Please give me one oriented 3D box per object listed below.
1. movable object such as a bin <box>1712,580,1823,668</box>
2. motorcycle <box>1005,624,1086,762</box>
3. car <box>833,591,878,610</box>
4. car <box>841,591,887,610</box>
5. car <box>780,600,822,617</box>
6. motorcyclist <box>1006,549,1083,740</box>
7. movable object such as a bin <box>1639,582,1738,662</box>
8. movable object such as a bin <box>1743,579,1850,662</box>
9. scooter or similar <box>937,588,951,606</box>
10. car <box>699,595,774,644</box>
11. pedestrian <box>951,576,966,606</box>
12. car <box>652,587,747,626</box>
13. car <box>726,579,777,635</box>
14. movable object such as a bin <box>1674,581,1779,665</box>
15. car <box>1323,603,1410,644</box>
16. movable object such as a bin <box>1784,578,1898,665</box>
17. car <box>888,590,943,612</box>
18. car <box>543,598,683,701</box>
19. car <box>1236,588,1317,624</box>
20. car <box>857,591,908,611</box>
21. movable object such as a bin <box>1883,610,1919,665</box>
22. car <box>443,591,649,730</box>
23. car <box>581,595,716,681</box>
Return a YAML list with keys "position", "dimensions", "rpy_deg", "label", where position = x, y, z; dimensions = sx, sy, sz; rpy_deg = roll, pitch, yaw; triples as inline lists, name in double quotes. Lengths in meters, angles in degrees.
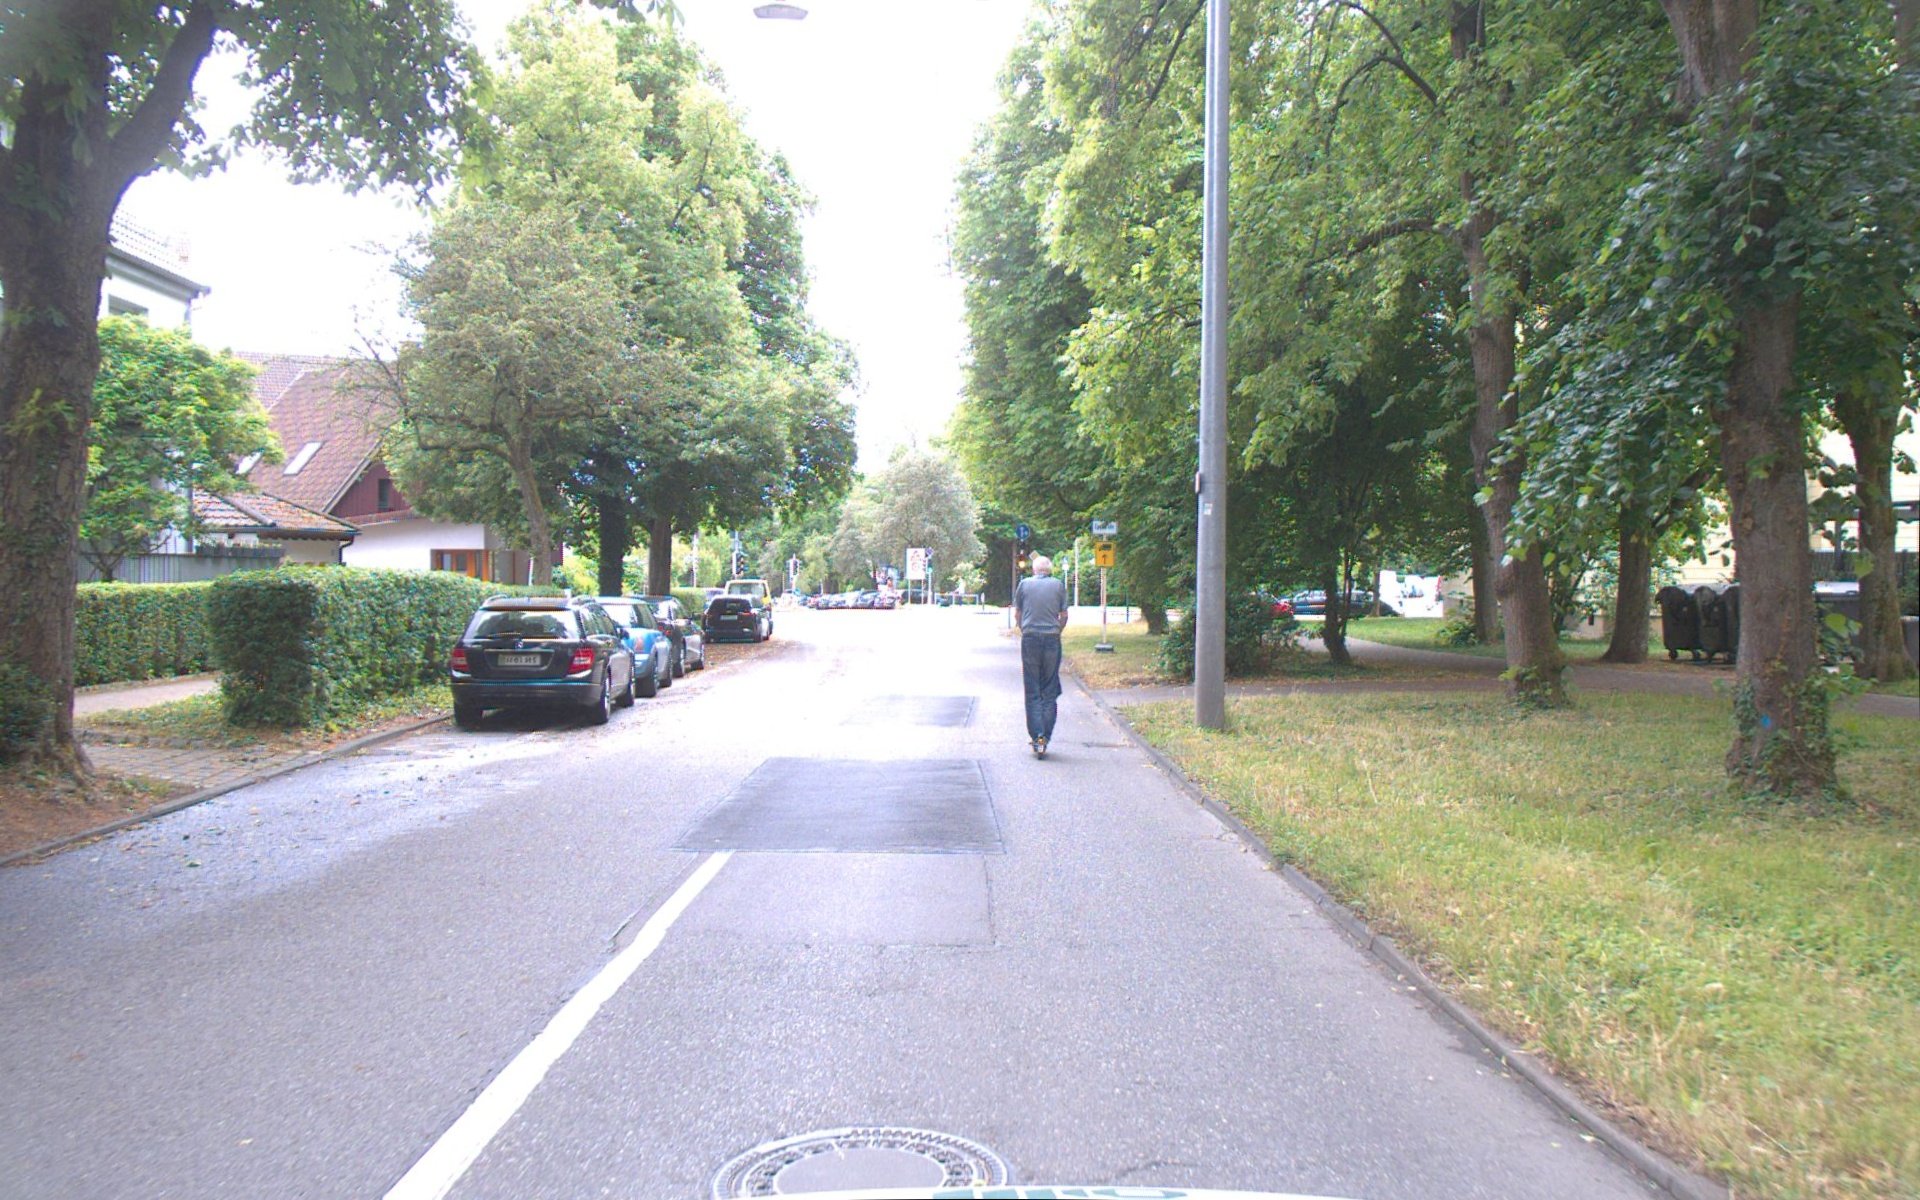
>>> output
- position: [14.595, 0.416, 29.926]
  dimensions: [1.301, 1.527, 1.313]
  rpy_deg: [-1, 0, -5]
  label: "movable object such as a bin"
- position: [0.803, 0.864, 15.854]
  dimensions: [0.659, 1.239, 1.273]
  rpy_deg: [1, 0, -2]
  label: "motorcycle"
- position: [-9.141, 0.036, 144.757]
  dimensions: [3.910, 1.537, 1.798]
  rpy_deg: [-1, 0, -6]
  label: "car"
- position: [-8.327, 0.052, 142.902]
  dimensions: [3.910, 1.537, 1.798]
  rpy_deg: [-1, 0, -6]
  label: "car"
- position: [-15.256, 0.823, 158.871]
  dimensions: [3.910, 1.537, 1.798]
  rpy_deg: [-1, 0, -6]
  label: "car"
- position: [0.809, 0.421, 15.988]
  dimensions: [0.659, 1.792, 0.638]
  rpy_deg: [1, 0, -2]
  label: "motorcyclist"
- position: [14.353, 0.424, 32.637]
  dimensions: [1.301, 1.527, 1.313]
  rpy_deg: [-1, 0, -5]
  label: "movable object such as a bin"
- position: [15.868, 0.379, 31.415]
  dimensions: [1.301, 1.527, 1.313]
  rpy_deg: [-1, 0, -5]
  label: "movable object such as a bin"
- position: [-0.963, -0.187, 99.860]
  dimensions: [0.695, 1.067, 0.788]
  rpy_deg: [-1, 0, 16]
  label: "scooter or similar"
- position: [-6.832, 0.582, 51.010]
  dimensions: [1.854, 1.435, 4.551]
  rpy_deg: [-1, 0, -2]
  label: "car"
- position: [-0.083, -0.569, 99.559]
  dimensions: [0.717, 1.792, 0.662]
  rpy_deg: [-1, 0, 16]
  label: "pedestrian"
- position: [-10.987, 0.262, 69.938]
  dimensions: [3.913, 1.536, 1.797]
  rpy_deg: [0, 2, -9]
  label: "car"
- position: [-7.837, 0.255, 62.019]
  dimensions: [1.823, 1.998, 4.496]
  rpy_deg: [-1, 0, -8]
  label: "car"
- position: [14.477, 0.420, 31.285]
  dimensions: [1.301, 1.527, 1.313]
  rpy_deg: [-1, 0, -5]
  label: "movable object such as a bin"
- position: [19.885, 1.129, 80.947]
  dimensions: [3.906, 1.756, 1.800]
  rpy_deg: [2, 3, 22]
  label: "car"
- position: [15.988, 0.378, 30.043]
  dimensions: [1.301, 1.527, 1.313]
  rpy_deg: [-1, 0, -5]
  label: "movable object such as a bin"
- position: [-3.313, 0.070, 122.043]
  dimensions: [3.910, 1.537, 1.798]
  rpy_deg: [-1, 0, -6]
  label: "car"
- position: [-5.194, 0.689, 25.162]
  dimensions: [1.632, 1.416, 3.703]
  rpy_deg: [-1, 0, -5]
  label: "car"
- position: [15.672, 0.287, 82.085]
  dimensions: [3.902, 1.584, 1.802]
  rpy_deg: [1, 3, 10]
  label: "car"
- position: [-6.210, 0.081, 132.290]
  dimensions: [3.910, 1.537, 1.798]
  rpy_deg: [-1, 0, -6]
  label: "car"
- position: [16.153, 0.626, 28.043]
  dimensions: [0.587, 0.893, 0.668]
  rpy_deg: [-1, 0, -5]
  label: "movable object such as a bin"
- position: [-4.956, 0.655, 20.362]
  dimensions: [1.759, 1.498, 4.413]
  rpy_deg: [-1, 0, -5]
  label: "car"
- position: [-5.693, 0.643, 30.723]
  dimensions: [1.758, 1.435, 4.643]
  rpy_deg: [-1, 0, -2]
  label: "car"
